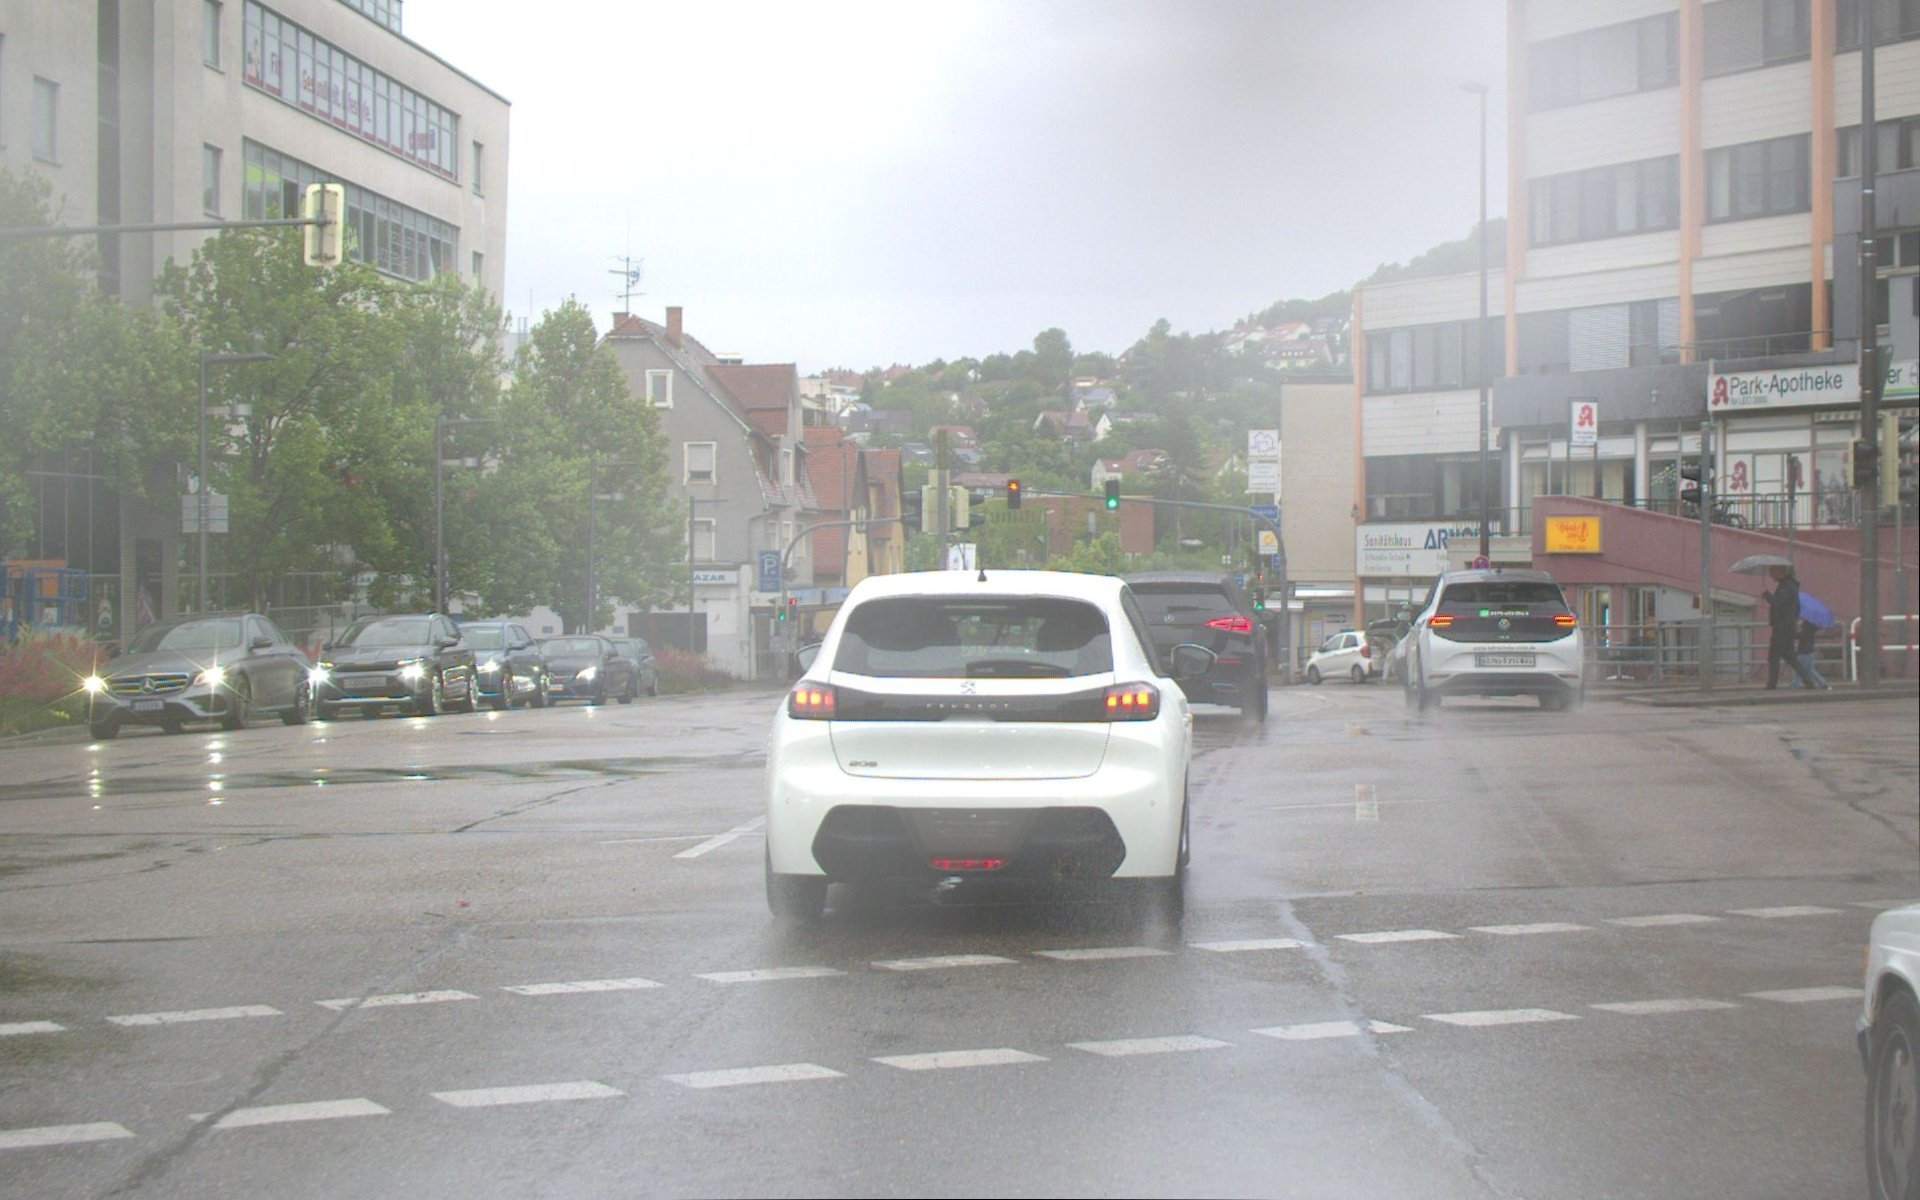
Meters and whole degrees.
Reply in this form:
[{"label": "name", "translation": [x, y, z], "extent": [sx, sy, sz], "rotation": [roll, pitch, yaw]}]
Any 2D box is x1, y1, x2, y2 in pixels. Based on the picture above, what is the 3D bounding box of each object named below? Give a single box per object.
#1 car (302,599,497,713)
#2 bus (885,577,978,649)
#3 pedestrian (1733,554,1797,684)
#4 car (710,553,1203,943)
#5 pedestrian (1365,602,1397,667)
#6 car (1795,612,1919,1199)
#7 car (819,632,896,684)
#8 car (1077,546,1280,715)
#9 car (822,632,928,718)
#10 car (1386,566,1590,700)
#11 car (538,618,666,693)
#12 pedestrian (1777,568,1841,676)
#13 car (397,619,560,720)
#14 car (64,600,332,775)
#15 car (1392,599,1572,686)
[{"label": "car", "translation": [-8.764, 0.852, 54.137], "extent": [1.876, 1.588, 4.523], "rotation": [-4, 0, 5]}, {"label": "bus", "translation": [-1.100, 0.481, 140.197], "extent": [2.939, 2.774, 9.503], "rotation": [-1, 0, 5]}, {"label": "pedestrian", "translation": [10.061, 0.242, 42.980], "extent": [0.708, 1.602, 0.655], "rotation": [-1, 0, 8]}, {"label": "car", "translation": [0.119, 0.546, 15.112], "extent": [1.872, 1.457, 3.872], "rotation": [1, 1, 4]}, {"label": "pedestrian", "translation": [11.799, 0.972, 96.340], "extent": [0.640, 1.816, 0.583], "rotation": [-1, 0, -28]}, {"label": "car", "translation": [2.790, 0.764, 5.931], "extent": [1.634, 1.443, 4.268], "rotation": [2, 0, 0]}, {"label": "car", "translation": [-2.863, 1.614, 96.769], "extent": [1.726, 1.383, 4.454], "rotation": [-1, -1, 3]}, {"label": "car", "translation": [2.209, 0.257, 33.851], "extent": [1.816, 1.524, 3.812], "rotation": [0, 1, 6]}, {"label": "car", "translation": [-1.927, 1.749, 79.107], "extent": [1.994, 1.817, 4.297], "rotation": [-3, -2, 3]}, {"label": "car", "translation": [5.758, 0.337, 37.831], "extent": [1.912, 1.395, 3.457], "rotation": [0, 0, 3]}, {"label": "car", "translation": [-6.958, 1.065, 67.216], "extent": [1.726, 1.383, 4.600], "rotation": [-1, -1, 3]}, {"label": "pedestrian", "translation": [10.774, 0.280, 43.628], "extent": [0.708, 1.341, 0.655], "rotation": [-1, 0, 8]}, {"label": "car", "translation": [-8.488, 1.206, 61.008], "extent": [1.774, 1.588, 4.587], "rotation": [-4, 0, 5]}, {"label": "car", "translation": [-9.388, 1.024, 42.750], "extent": [1.920, 1.626, 4.903], "rotation": [3, 4, 3]}, {"label": "car", "translation": [13.957, 1.118, 92.185], "extent": [1.993, 2.219, 4.976], "rotation": [-1, 0, -31]}]
